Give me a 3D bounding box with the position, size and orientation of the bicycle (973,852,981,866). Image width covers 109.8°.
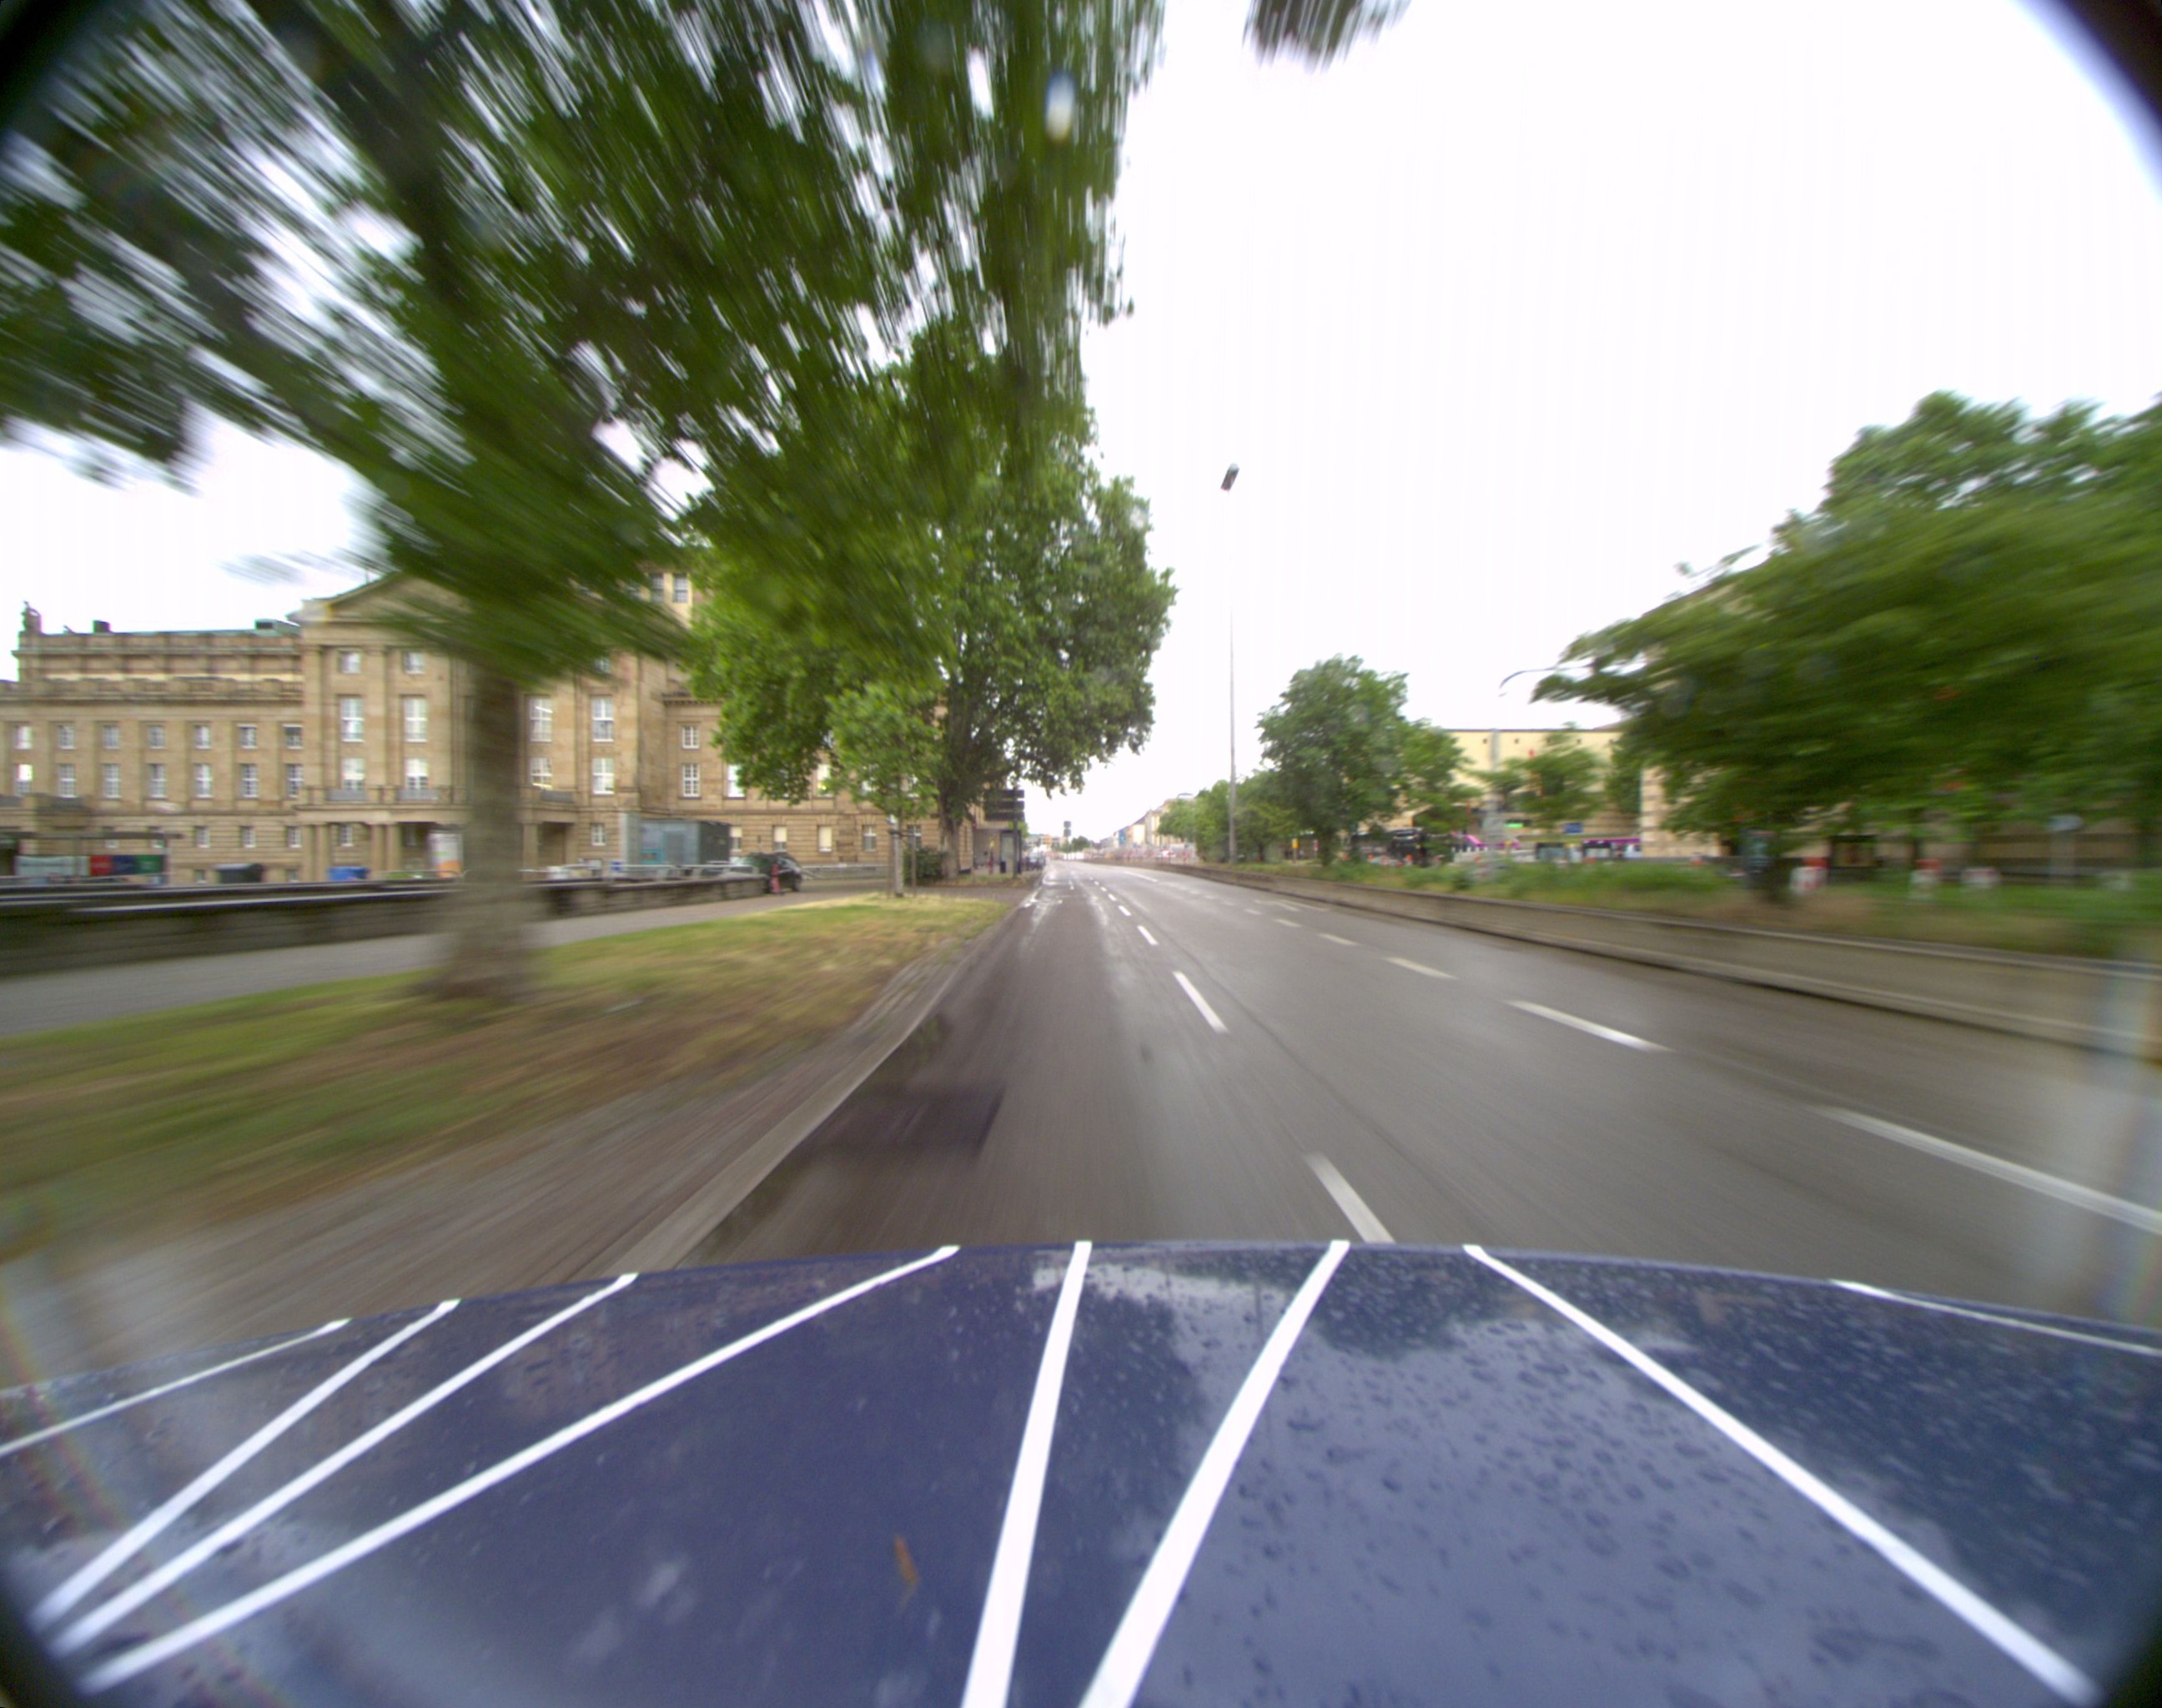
[{"bbox_3d":[-9.247,0.455,67.511,0.455,1.244,1.599,-2,1,-3],"label":"bicycle"}]

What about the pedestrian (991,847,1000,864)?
[{"bbox_3d":[-9.106,0.119,80.960,0.797,1.767,0.642,2,1,-2],"label":"pedestrian"}]

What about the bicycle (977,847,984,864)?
[{"bbox_3d":[-9.246,0.120,69.740,0.455,1.507,1.599,-2,1,-3],"label":"bicycle"}]

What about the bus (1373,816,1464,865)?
[{"bbox_3d":[32.205,-1.237,73.458,3.126,4.227,13.494,-2,0,2],"label":"bus"}]

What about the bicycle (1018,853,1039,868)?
[{"bbox_3d":[-4.205,0.523,60.871,1.683,1.116,0.601,-1,1,1],"label":"bicycle"}]

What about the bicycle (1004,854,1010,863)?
[{"bbox_3d":[-8.844,0.569,90.435,0.714,1.045,1.739,-1,1,-6],"label":"bicycle"}]

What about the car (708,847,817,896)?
[{"bbox_3d":[-11.669,0.621,28.260,1.999,1.600,5.235,-1,-1,-2],"label":"car"}]

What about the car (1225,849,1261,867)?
[{"bbox_3d":[14.511,0.322,68.302,1.999,1.587,3.997,0,1,-6],"label":"car"}]

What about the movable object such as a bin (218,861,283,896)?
[{"bbox_3d":[-36.779,1.064,33.686,1.493,1.449,1.249,1,2,2],"label":"movable object such as a bin"}]

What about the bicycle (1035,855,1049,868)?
[{"bbox_3d":[-3.077,0.588,59.738,0.670,0.962,1.639,-1,1,14],"label":"bicycle"}]

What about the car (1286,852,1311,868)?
[{"bbox_3d":[23.814,0.666,83.181,1.596,1.492,3.211,-1,3,-4],"label":"car"}]

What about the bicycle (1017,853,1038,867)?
[{"bbox_3d":[-4.387,0.488,62.193,1.683,1.084,0.650,-1,1,1],"label":"bicycle"}]

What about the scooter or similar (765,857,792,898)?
[{"bbox_3d":[-9.670,0.740,24.275,0.544,1.248,1.433,0,1,-32],"label":"scooter or similar"}]

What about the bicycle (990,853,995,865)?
[{"bbox_3d":[-9.076,0.523,78.068,0.465,1.208,1.691,-1,1,-3],"label":"bicycle"}]

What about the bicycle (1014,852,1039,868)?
[{"bbox_3d":[-4.407,0.479,61.696,1.911,1.325,0.650,-1,1,1],"label":"bicycle"}]

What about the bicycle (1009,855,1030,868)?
[{"bbox_3d":[-4.894,0.595,60.120,1.593,0.988,0.524,-1,1,1],"label":"bicycle"}]

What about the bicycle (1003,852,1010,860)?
[{"bbox_3d":[-9.544,0.236,96.962,0.419,1.044,1.773,-1,1,11],"label":"bicycle"}]

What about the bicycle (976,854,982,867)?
[{"bbox_3d":[-8.975,0.539,66.641,0.353,1.074,1.788,1,1,-2],"label":"bicycle"}]

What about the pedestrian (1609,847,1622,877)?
[{"bbox_3d":[36.740,0.560,52.247,0.479,2.002,0.512,1,2,-1],"label":"pedestrian"}]

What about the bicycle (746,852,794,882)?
[{"bbox_3d":[-17.751,0.744,43.397,2.323,1.657,0.774,-1,2,-7],"label":"bicycle"}]

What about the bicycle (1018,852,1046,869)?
[{"bbox_3d":[-3.894,0.500,60.980,2.196,1.329,0.650,0,1,0],"label":"bicycle"}]

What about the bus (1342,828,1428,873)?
[{"bbox_3d":[28.617,-0.326,72.524,2.811,3.789,14.597,-2,0,2],"label":"bus"}]

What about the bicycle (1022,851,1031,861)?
[{"bbox_3d":[-6.736,0.227,93.496,0.778,1.211,1.963,1,1,-13],"label":"bicycle"}]

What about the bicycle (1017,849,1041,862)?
[{"bbox_3d":[-4.405,0.122,63.900,1.991,1.054,0.759,-1,1,-4],"label":"bicycle"}]
